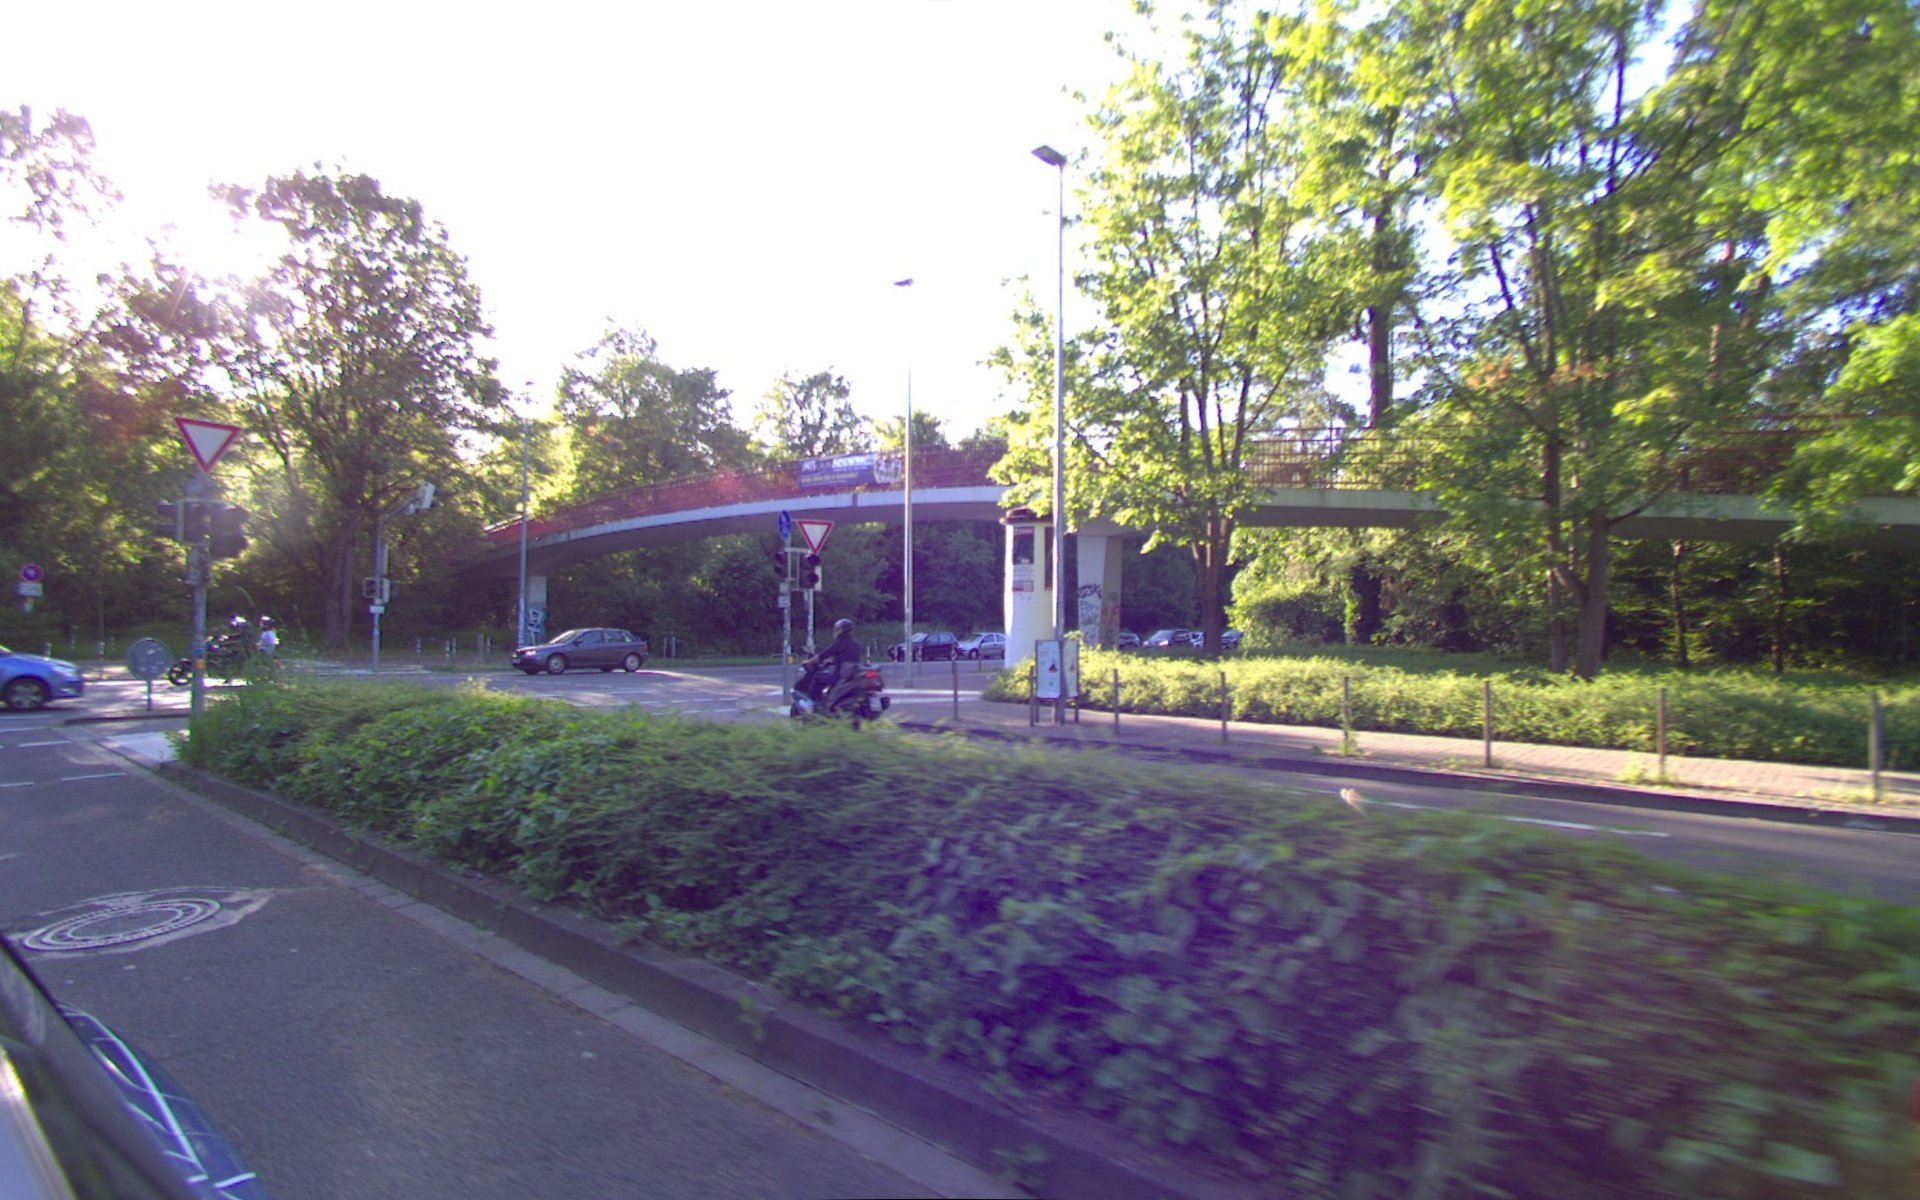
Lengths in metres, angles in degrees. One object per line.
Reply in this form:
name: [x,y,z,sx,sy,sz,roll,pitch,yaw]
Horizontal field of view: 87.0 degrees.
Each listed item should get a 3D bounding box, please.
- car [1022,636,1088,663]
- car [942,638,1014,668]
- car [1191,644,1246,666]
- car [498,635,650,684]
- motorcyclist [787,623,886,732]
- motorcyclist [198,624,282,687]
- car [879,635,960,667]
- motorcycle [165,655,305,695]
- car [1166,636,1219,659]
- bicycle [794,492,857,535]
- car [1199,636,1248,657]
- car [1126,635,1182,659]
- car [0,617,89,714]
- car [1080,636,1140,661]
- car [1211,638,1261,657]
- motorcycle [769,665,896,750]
car: [5.613,2.887,59.357,1.738,1.519,4.095,-1,-2,42]
car: [0.991,2.801,54.302,1.721,1.519,3.920,-1,-2,42]
car: [15.088,3.187,58.950,1.466,1.254,3.944,-2,-3,42]
car: [-11.817,1.791,31.144,3.940,1.400,1.870,2,-3,-44]
motorcyclist: [-1.766,1.078,14.449,0.937,1.482,1.070,2,-3,-45]
motorcyclist: [-17.519,1.349,24.623,1.543,1.438,1.140,0,-4,-42]
car: [-1.996,2.536,50.872,1.695,1.519,4.068,-2,-3,42]
motorcycle: [-17.578,1.796,24.601,2.671,0.920,0.809,3,-3,-43]
car: [16.443,3.314,71.470,1.738,1.519,4.334,-1,-2,42]
bicycle: [-4.963,-3.156,37.245,1.036,1.383,2.450,1,0,-45]
car: [19.729,3.480,75.666,1.738,1.519,4.334,-1,-2,42]
car: [12.991,3.149,67.611,1.738,1.519,4.167,-1,-2,42]
car: [-17.623,1.099,17.044,1.812,1.592,4.258,1,-1,42]
car: [9.419,3.007,63.370,1.705,1.519,4.079,-1,-2,42]
car: [19.022,3.256,69.627,1.737,1.254,3.944,-2,-3,42]
motorcycle: [-1.868,1.505,14.554,0.517,1.077,2.289,2,-3,-45]
